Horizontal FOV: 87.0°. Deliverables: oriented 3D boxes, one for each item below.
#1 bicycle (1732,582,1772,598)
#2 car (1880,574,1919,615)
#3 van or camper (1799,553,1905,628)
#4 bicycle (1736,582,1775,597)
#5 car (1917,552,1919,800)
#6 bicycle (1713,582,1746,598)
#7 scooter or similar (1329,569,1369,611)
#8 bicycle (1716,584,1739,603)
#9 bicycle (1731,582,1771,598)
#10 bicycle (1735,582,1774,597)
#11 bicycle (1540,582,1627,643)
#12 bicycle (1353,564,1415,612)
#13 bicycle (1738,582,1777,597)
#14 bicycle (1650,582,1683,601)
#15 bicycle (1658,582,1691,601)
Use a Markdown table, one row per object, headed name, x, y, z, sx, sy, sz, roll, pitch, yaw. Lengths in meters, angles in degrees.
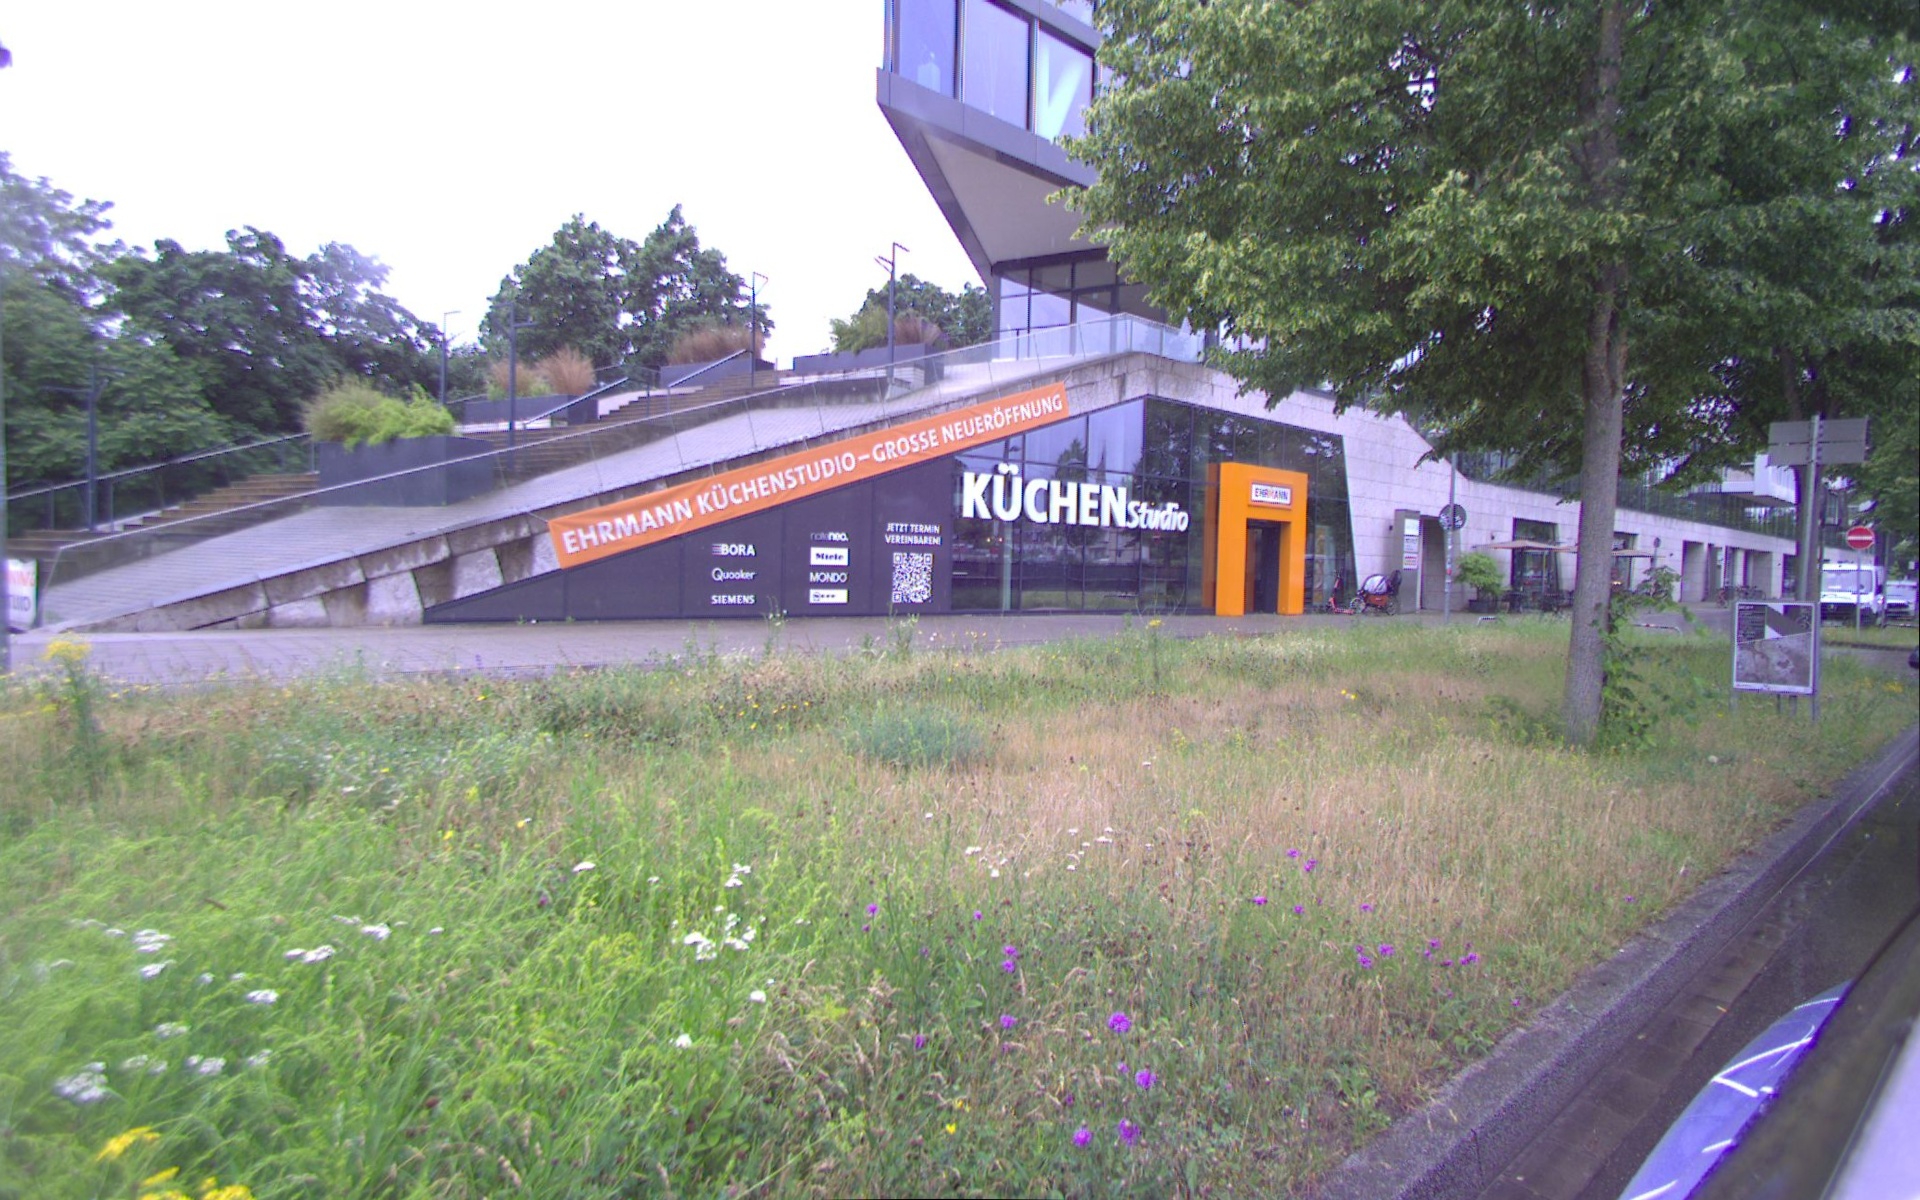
| name | x | y | z | sx | sy | sz | roll | pitch | yaw |
| --- | --- | --- | --- | --- | --- | --- | --- | --- | --- |
| bicycle | 53.117 | -0.704 | 67.886 | 0.389 | 0.957 | 2.025 | -1 | 4 | -45 |
| car | 43.333 | -0.279 | 46.003 | 4.766 | 1.781 | 1.744 | -1 | 2 | -42 |
| van or camper | 29.624 | -0.362 | 33.549 | 5.367 | 2.320 | 2.028 | -1 | 2 | -42 |
| bicycle | 54.256 | -0.737 | 69.062 | 0.389 | 0.957 | 2.025 | -1 | 4 | -45 |
| car | 5.846 | 0.592 | 4.576 | 3.930 | 1.632 | 1.814 | -1 | 1 | -41 |
| bicycle | 49.504 | -0.660 | 65.123 | 0.339 | 0.957 | 1.665 | 0 | 3 | -22 |
| scooter or similar | 11.780 | -0.309 | 30.670 | 1.214 | 1.243 | 0.343 | -1 | 0 | -22 |
| bicycle | 39.886 | -0.323 | 52.582 | 1.823 | 0.957 | 0.403 | -1 | 2 | -34 |
| bicycle | 52.633 | -0.693 | 67.355 | 0.389 | 0.957 | 2.025 | -1 | 4 | -45 |
| bicycle | 53.920 | -0.732 | 68.677 | 0.389 | 0.957 | 2.025 | -1 | 4 | -45 |
| bicycle | 14.588 | 0.277 | 23.738 | 0.521 | 1.363 | 1.852 | 2 | 1 | -16 |
| bicycle | 13.277 | -0.366 | 31.648 | 2.382 | 1.419 | 0.734 | 0 | 3 | -41 |
| bicycle | 54.779 | -0.743 | 69.556 | 0.389 | 0.957 | 2.025 | -1 | 4 | -45 |
| bicycle | 36.620 | -0.446 | 52.505 | 0.388 | 0.958 | 2.028 | -1 | 1 | 4 |
| bicycle | 37.239 | -0.458 | 52.797 | 0.388 | 0.958 | 2.028 | -1 | 1 | 4 |
